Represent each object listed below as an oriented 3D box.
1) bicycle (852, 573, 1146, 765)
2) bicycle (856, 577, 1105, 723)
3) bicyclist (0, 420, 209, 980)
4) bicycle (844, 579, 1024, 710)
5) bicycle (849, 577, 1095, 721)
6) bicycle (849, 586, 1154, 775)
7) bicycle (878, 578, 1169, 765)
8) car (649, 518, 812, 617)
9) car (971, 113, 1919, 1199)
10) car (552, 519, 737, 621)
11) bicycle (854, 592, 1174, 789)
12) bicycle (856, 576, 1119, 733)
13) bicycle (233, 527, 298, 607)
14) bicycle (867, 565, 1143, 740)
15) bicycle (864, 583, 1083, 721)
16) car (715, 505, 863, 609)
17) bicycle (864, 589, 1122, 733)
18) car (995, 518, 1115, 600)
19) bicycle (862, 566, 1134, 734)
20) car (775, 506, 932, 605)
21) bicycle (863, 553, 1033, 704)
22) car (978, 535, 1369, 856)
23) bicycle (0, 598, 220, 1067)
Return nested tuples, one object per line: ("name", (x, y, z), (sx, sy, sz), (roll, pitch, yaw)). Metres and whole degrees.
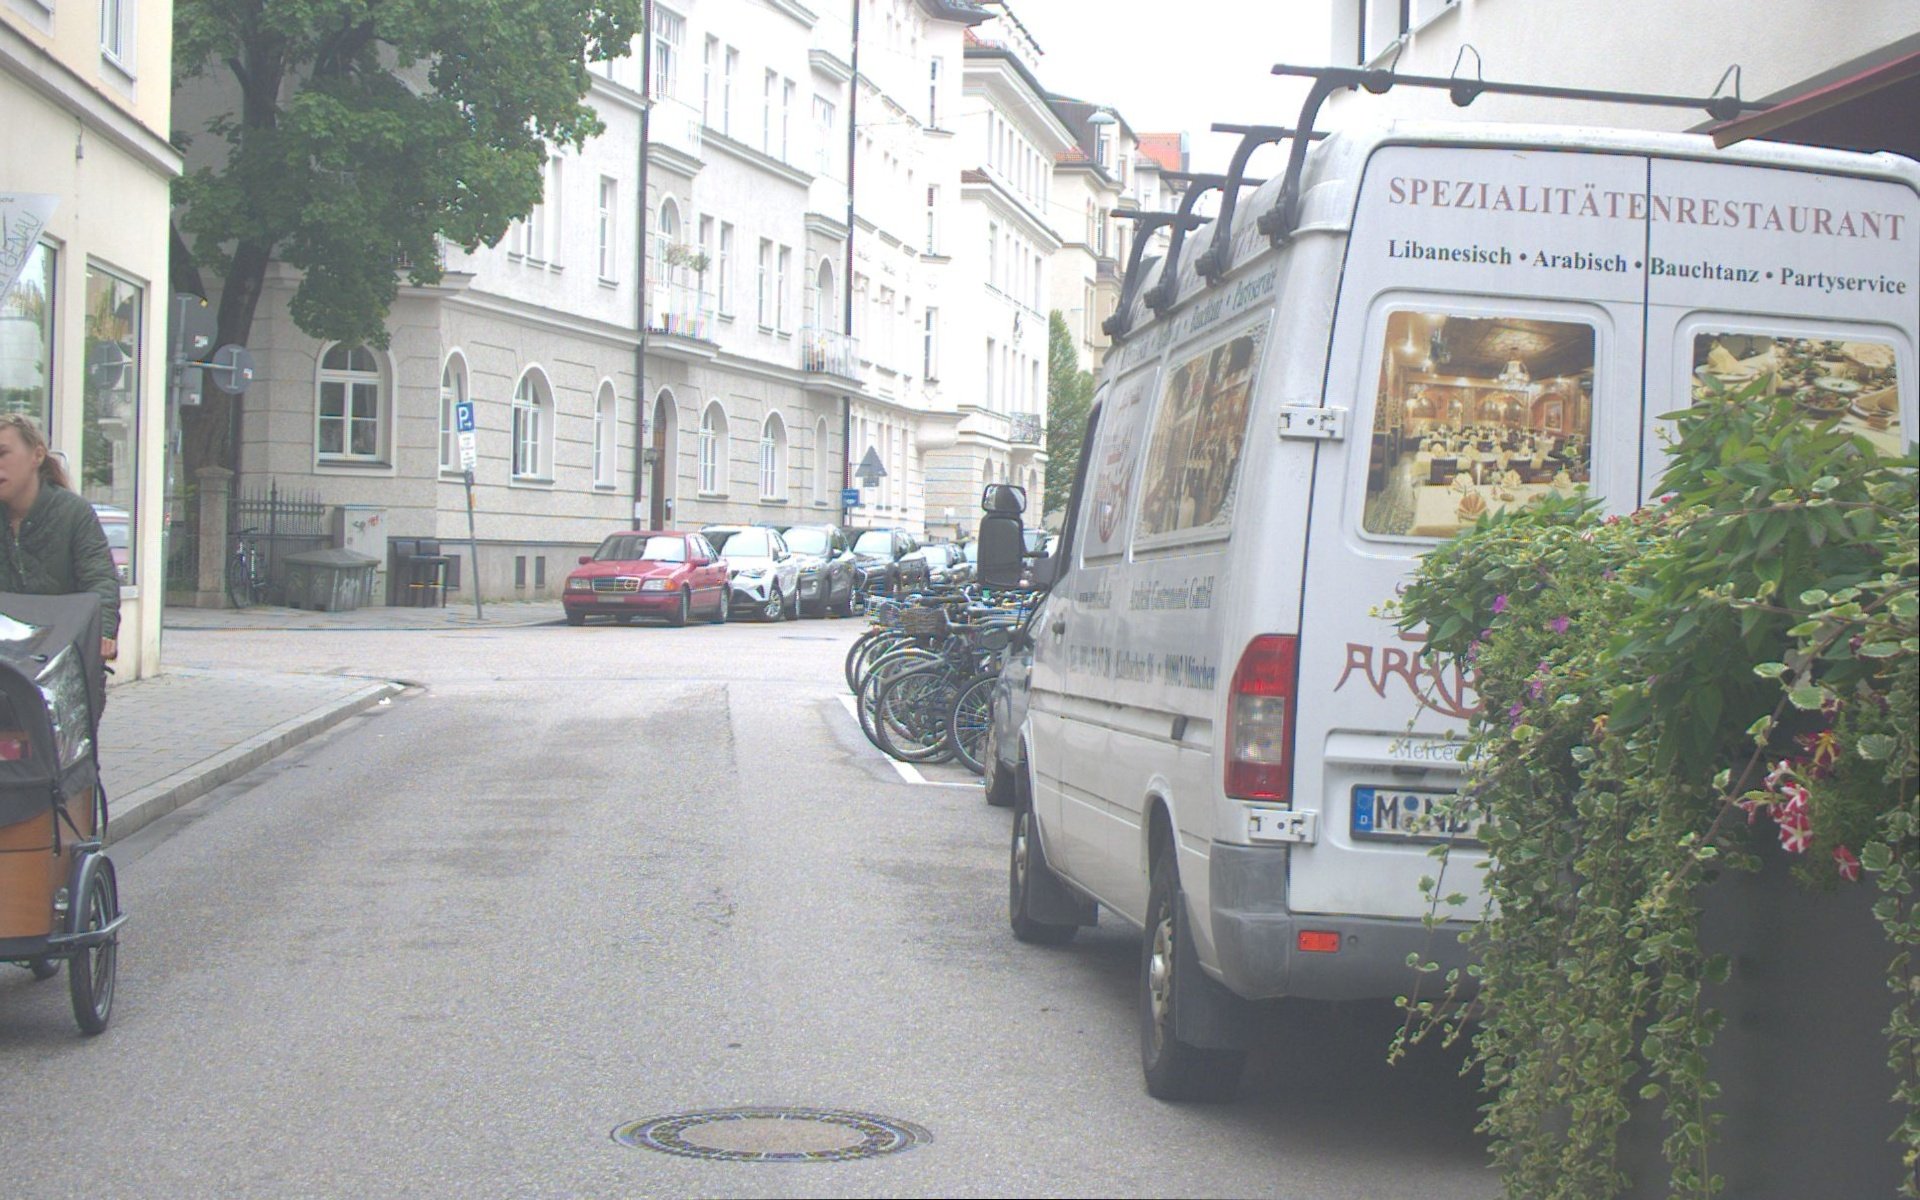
("bicycle", (0.252, 0.453, 22.788), (1.873, 1.200, 0.488), (1, 2, -6))
("bicycle", (0.159, 0.389, 26.776), (1.873, 1.076, 0.402), (1, 2, -7))
("bicyclist", (-2.978, 0.294, 11.074), (0.926, 1.715, 1.100), (0, 1, -3))
("bicycle", (-0.229, 0.382, 29.672), (1.450, 1.066, 0.463), (2, 1, -11))
("bicycle", (0.091, 0.389, 27.212), (1.873, 1.076, 0.408), (1, 2, -7))
("bicycle", (0.260, 0.517, 22.269), (1.873, 1.104, 0.488), (3, 2, -6))
("bicycle", (0.427, 0.482, 23.484), (1.873, 1.153, 0.565), (3, 2, -6))
("car", (-3.639, -0.540, 55.248), (1.994, 1.468, 4.218), (2, 1, 4))
("car", (1.310, 0.090, 11.015), (1.920, 2.497, 5.998), (3, 1, -5))
("car", (-4.562, -0.447, 50.293), (1.731, 1.373, 4.225), (2, 1, 8))
("bicycle", (0.328, 0.557, 21.323), (1.873, 1.076, 0.488), (4, 2, -6))
("bicycle", (0.199, 0.404, 25.375), (1.873, 1.091, 0.440), (1, 2, -7))
("bicycle", (-9.875, -0.483, 48.900), (0.493, 1.049, 1.827), (2, 3, 1))
("bicycle", (0.310, 0.365, 24.207), (1.873, 1.200, 0.580), (0, 1, -6))
("bicycle", (0.108, 0.428, 28.456), (1.740, 1.076, 0.452), (1, 2, -7))
("car", (-2.970, -0.762, 60.439), (1.943, 1.696, 3.999), (2, 1, 6))
("bicycle", (0.245, 0.461, 26.084), (1.873, 1.048, 0.564), (1, 0, -7))
("car", (2.013, -0.862, 71.335), (1.958, 1.602, 4.307), (1, 1, 8))
("bicycle", (0.268, 0.356, 24.827), (1.893, 1.166, 0.566), (1, 1, -6))
("car", (-1.964, -0.846, 65.044), (1.994, 1.732, 4.520), (2, 1, 11))
("bicycle", (-0.110, 0.251, 30.688), (1.456, 1.281, 0.445), (2, 1, -2))
("car", (1.015, 0.417, 17.918), (1.580, 1.459, 3.552), (2, 1, -3))
("bicycle", (-2.946, 0.635, 10.597), (0.932, 1.253, 2.414), (0, 1, -3))
